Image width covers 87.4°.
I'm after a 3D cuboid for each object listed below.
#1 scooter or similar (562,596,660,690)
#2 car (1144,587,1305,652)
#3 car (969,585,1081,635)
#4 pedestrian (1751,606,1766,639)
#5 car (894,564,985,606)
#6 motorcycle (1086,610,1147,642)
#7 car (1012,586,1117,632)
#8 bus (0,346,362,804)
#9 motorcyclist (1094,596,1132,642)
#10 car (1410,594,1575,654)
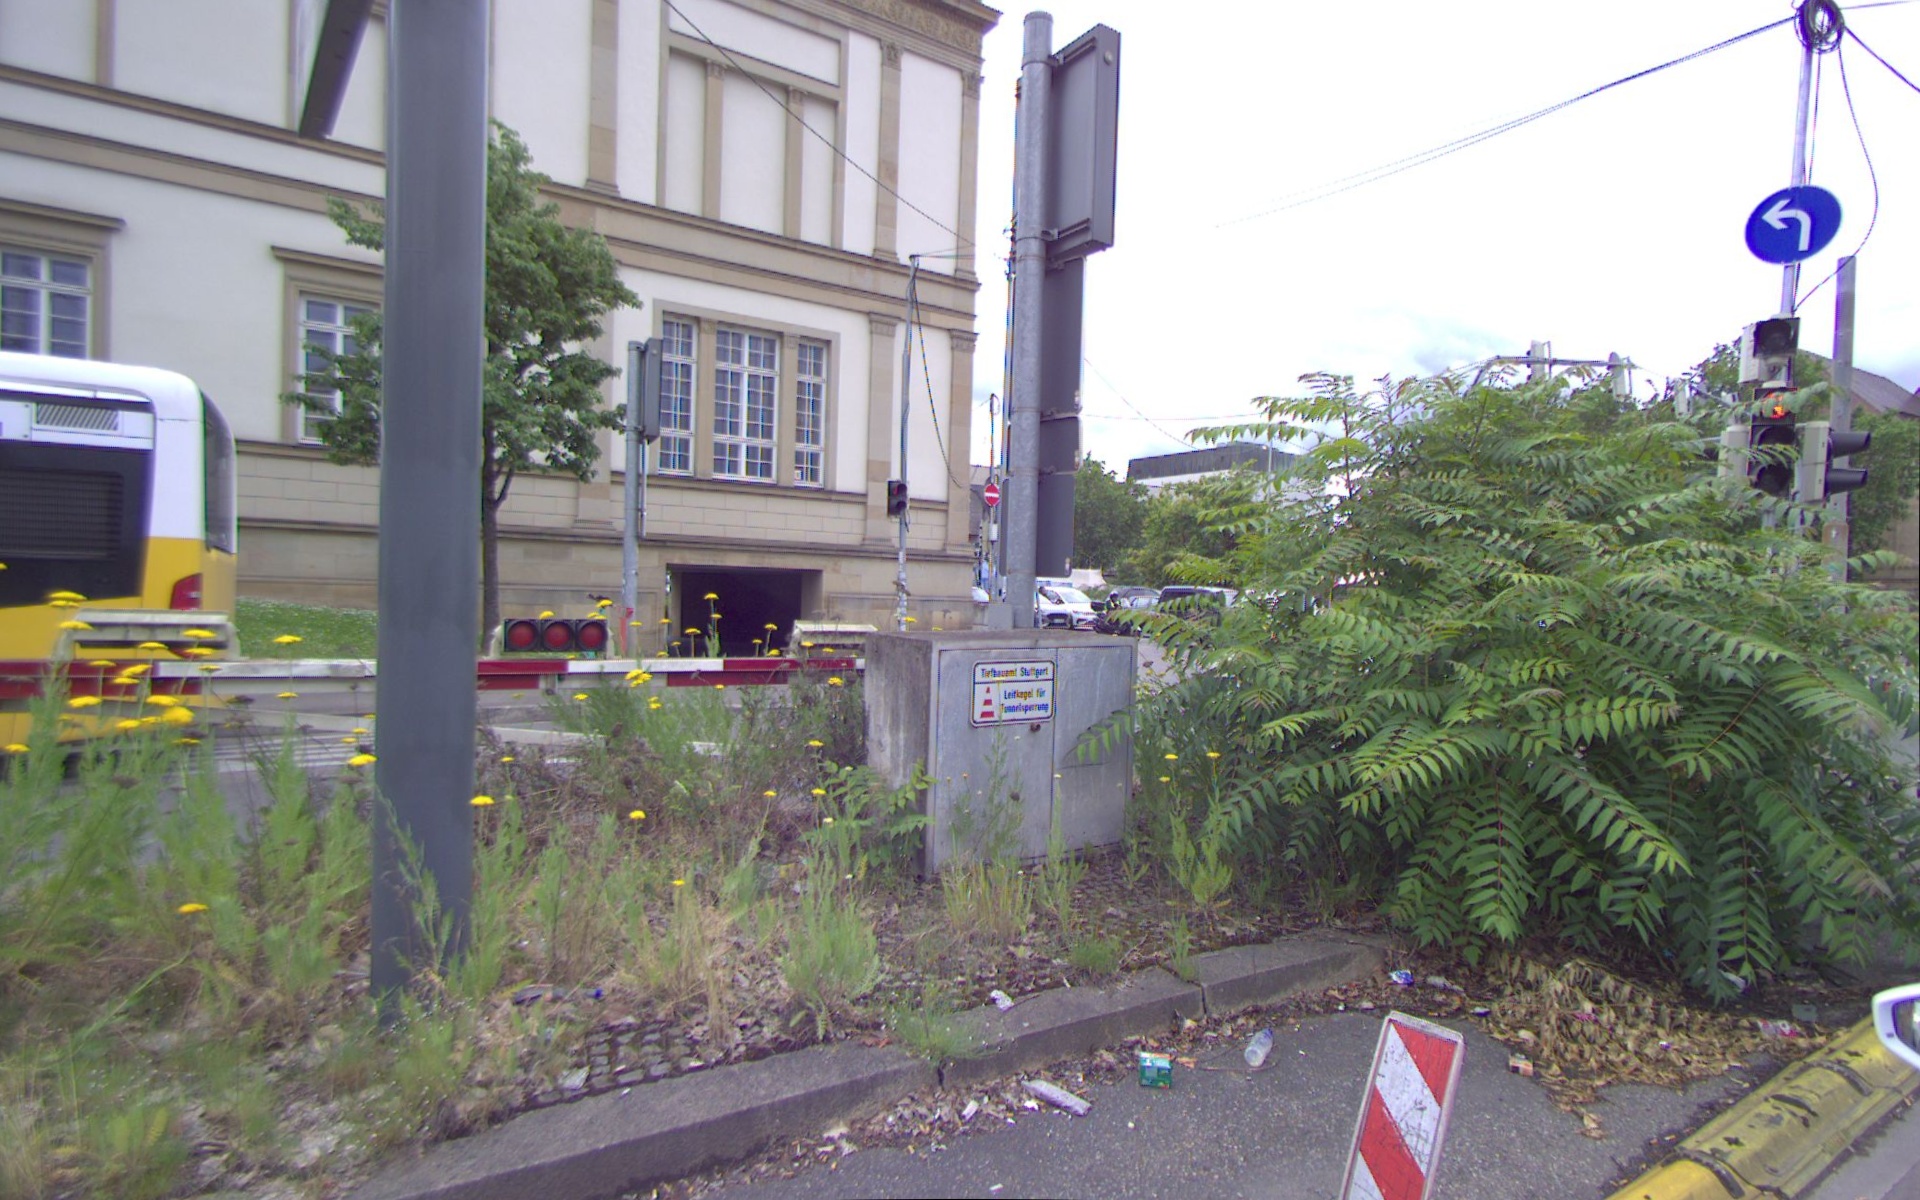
[{"bbox_3d":[-4.893,0.600,14.141,1.132,1.190,0.540,6,0,-10],"label":"scooter or similar"},{"bbox_3d":[7.586,0.520,29.207,1.979,1.698,4.285,1,1,-34],"label":"car"},{"bbox_3d":[2.359,0.343,37.532,1.979,1.698,4.285,1,1,-34],"label":"car"},{"bbox_3d":[49.759,1.375,62.587,0.516,2.040,0.428,2,1,17],"label":"pedestrian"},{"bbox_3d":[-0.948,-0.673,43.682,1.979,1.698,4.285,1,1,-34],"label":"car"},{"bbox_3d":[5.066,0.829,32.650,0.749,0.937,2.042,1,1,-35],"label":"motorcycle"},{"bbox_3d":[4.202,0.346,41.020,1.979,1.698,4.285,1,1,-34],"label":"car"},{"bbox_3d":[-9.364,-0.236,6.859,9.020,3.156,2.830,1,1,-32],"label":"bus"},{"bbox_3d":[4.984,0.618,32.765,0.738,1.442,0.959,1,1,-35],"label":"motorcyclist"},{"bbox_3d":[17.123,0.735,32.448,1.986,1.698,4.271,1,1,-43],"label":"car"}]
